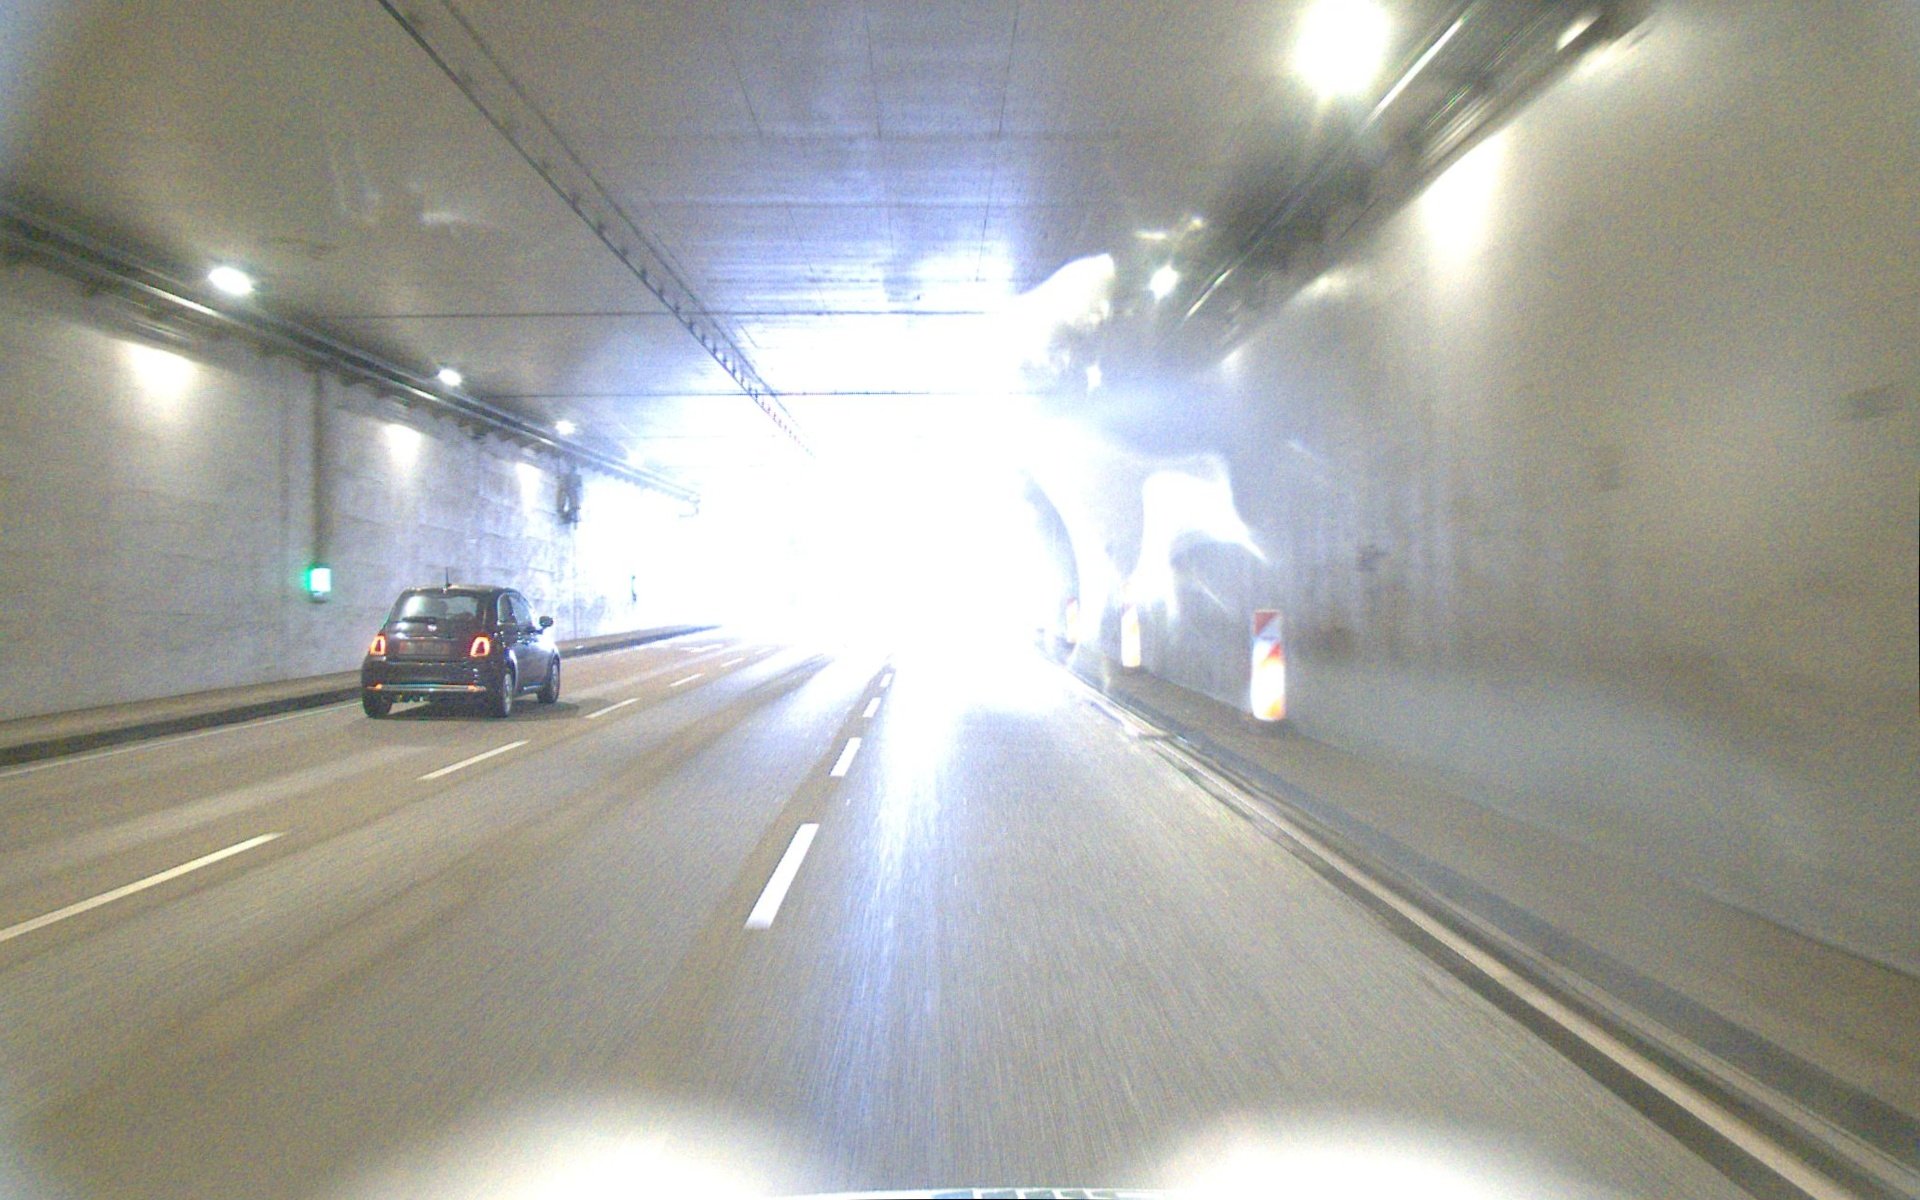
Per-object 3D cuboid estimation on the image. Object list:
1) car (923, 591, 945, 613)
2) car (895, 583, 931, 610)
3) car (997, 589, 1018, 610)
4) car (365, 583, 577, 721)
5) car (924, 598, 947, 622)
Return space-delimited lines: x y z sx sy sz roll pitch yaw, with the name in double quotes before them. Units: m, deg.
"car" -2.465 0.201 154.976 1.953 2.049 3.998 -1 -1 -2
"car" -2.699 -0.171 94.268 1.954 1.473 4.311 -1 0 -3
"car" 4.696 -0.040 164.743 1.953 2.049 3.999 0 0 -1
"car" -5.764 0.553 19.881 1.580 1.480 3.571 -1 1 -2
"car" -2.187 0.864 145.310 1.953 2.049 3.998 -1 -1 -2
